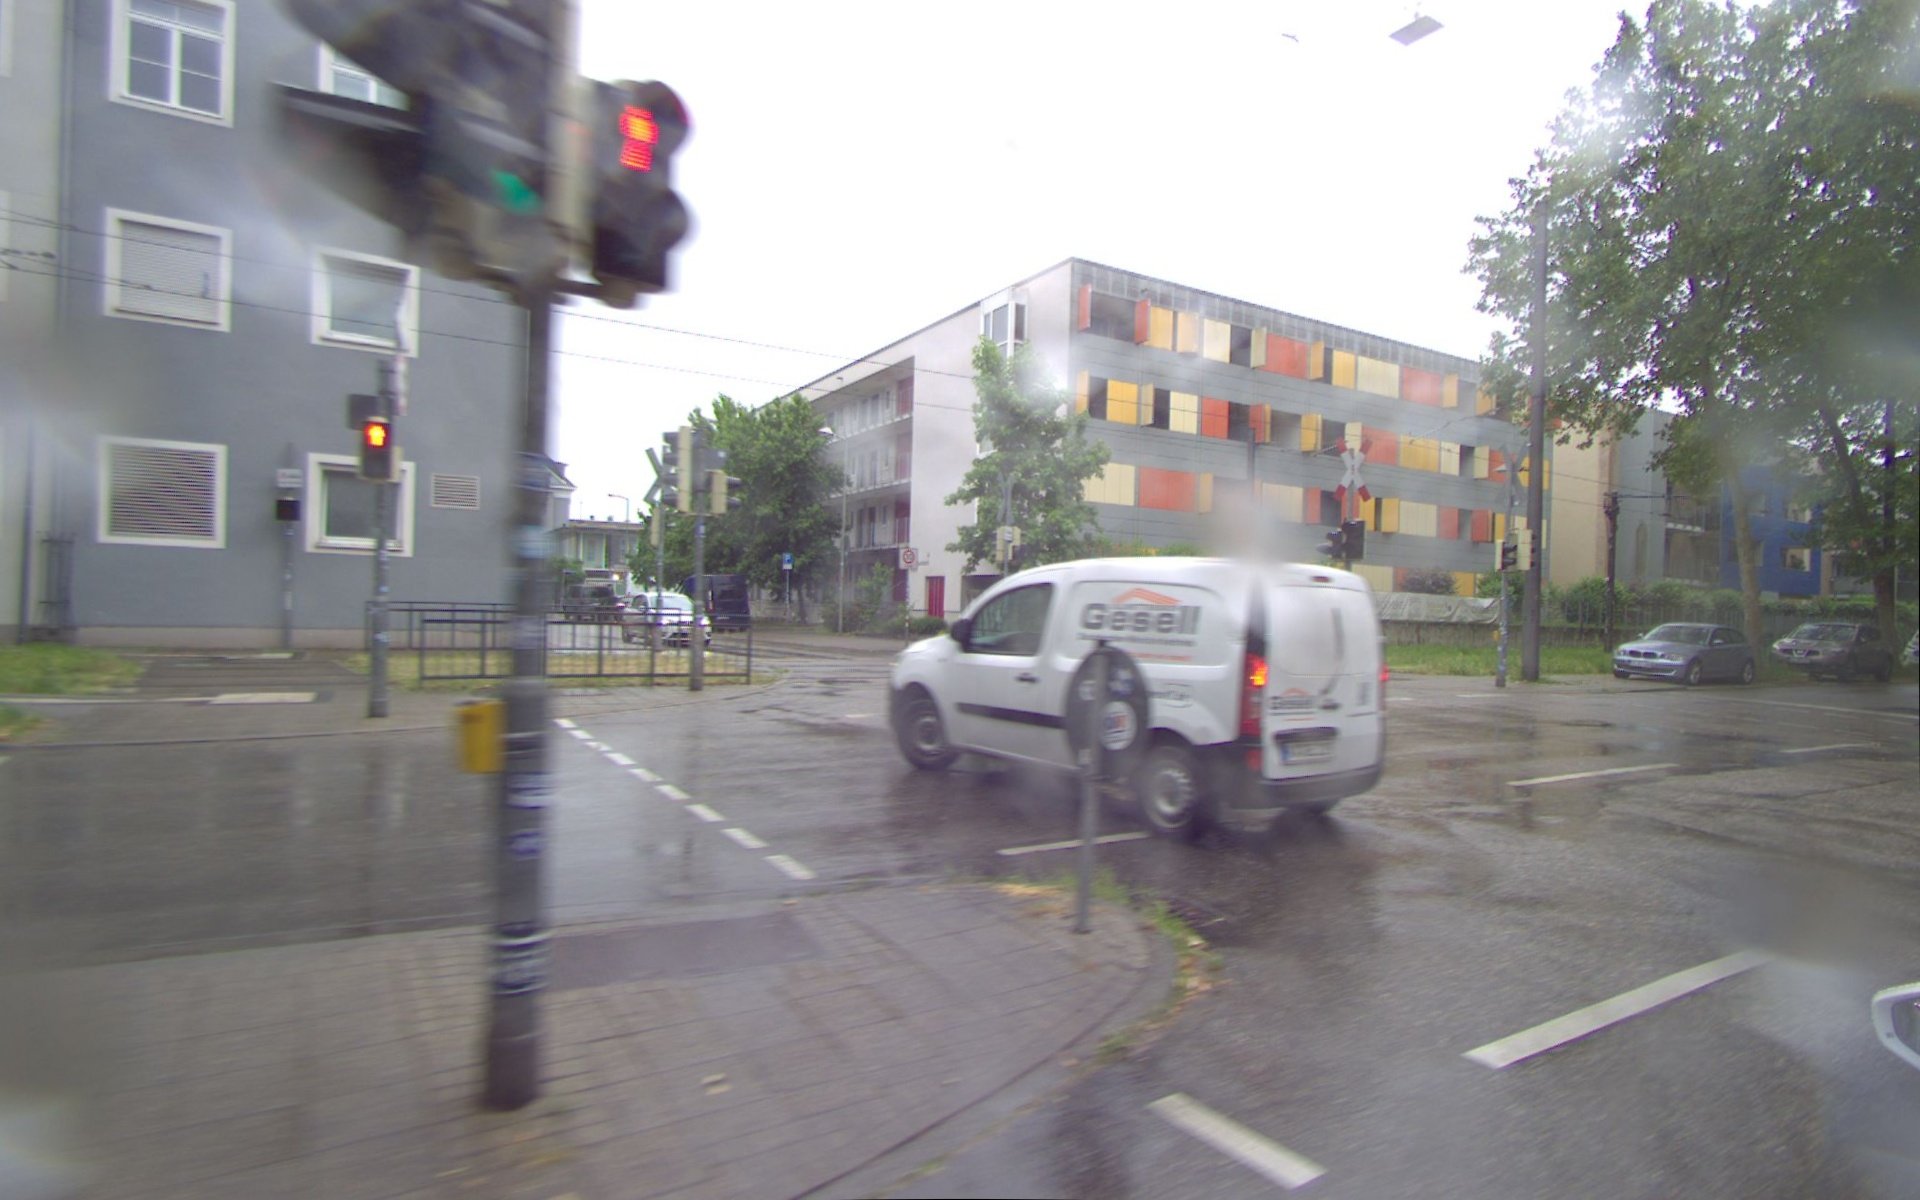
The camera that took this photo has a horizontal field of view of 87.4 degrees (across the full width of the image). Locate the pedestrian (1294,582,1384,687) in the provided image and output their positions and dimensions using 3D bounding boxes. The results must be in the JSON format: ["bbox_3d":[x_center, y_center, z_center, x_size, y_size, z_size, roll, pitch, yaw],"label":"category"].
[{"bbox_3d":[6.857,0.621,18.178,1.192,1.824,0.931,2,0,-31],"label":"pedestrian"}]

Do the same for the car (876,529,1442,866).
[{"bbox_3d":[1.252,0.523,7.776,1.921,1.874,4.023,1,0,-37],"label":"car"}]

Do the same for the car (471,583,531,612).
[{"bbox_3d":[-34.076,-0.192,74.566,3.947,2.040,1.987,2,0,-26],"label":"car"}]

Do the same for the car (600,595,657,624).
[{"bbox_3d":[-16.748,0.465,50.702,1.976,1.328,3.968,2,0,-30],"label":"car"}]

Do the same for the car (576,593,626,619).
[{"bbox_3d":[-19.856,0.298,55.465,1.976,1.328,3.968,2,0,-30],"label":"car"}]

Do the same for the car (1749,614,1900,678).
[{"bbox_3d":[24.479,1.283,28.420,4.415,1.622,1.895,2,0,-31],"label":"car"}]

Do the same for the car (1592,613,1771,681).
[{"bbox_3d":[17.655,1.126,24.562,4.335,1.483,1.895,2,0,-30],"label":"car"}]

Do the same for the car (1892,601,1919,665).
[{"bbox_3d":[33.459,1.156,33.651,5.379,2.024,2.041,2,2,-34],"label":"car"}]

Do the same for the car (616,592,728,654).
[{"bbox_3d":[-8.019,0.591,27.734,1.868,1.548,4.053,2,0,-33],"label":"car"}]

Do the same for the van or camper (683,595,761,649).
[{"bbox_3d":[-10.040,0.874,42.188,1.978,2.040,3.964,2,1,-32],"label":"van or camper"}]
